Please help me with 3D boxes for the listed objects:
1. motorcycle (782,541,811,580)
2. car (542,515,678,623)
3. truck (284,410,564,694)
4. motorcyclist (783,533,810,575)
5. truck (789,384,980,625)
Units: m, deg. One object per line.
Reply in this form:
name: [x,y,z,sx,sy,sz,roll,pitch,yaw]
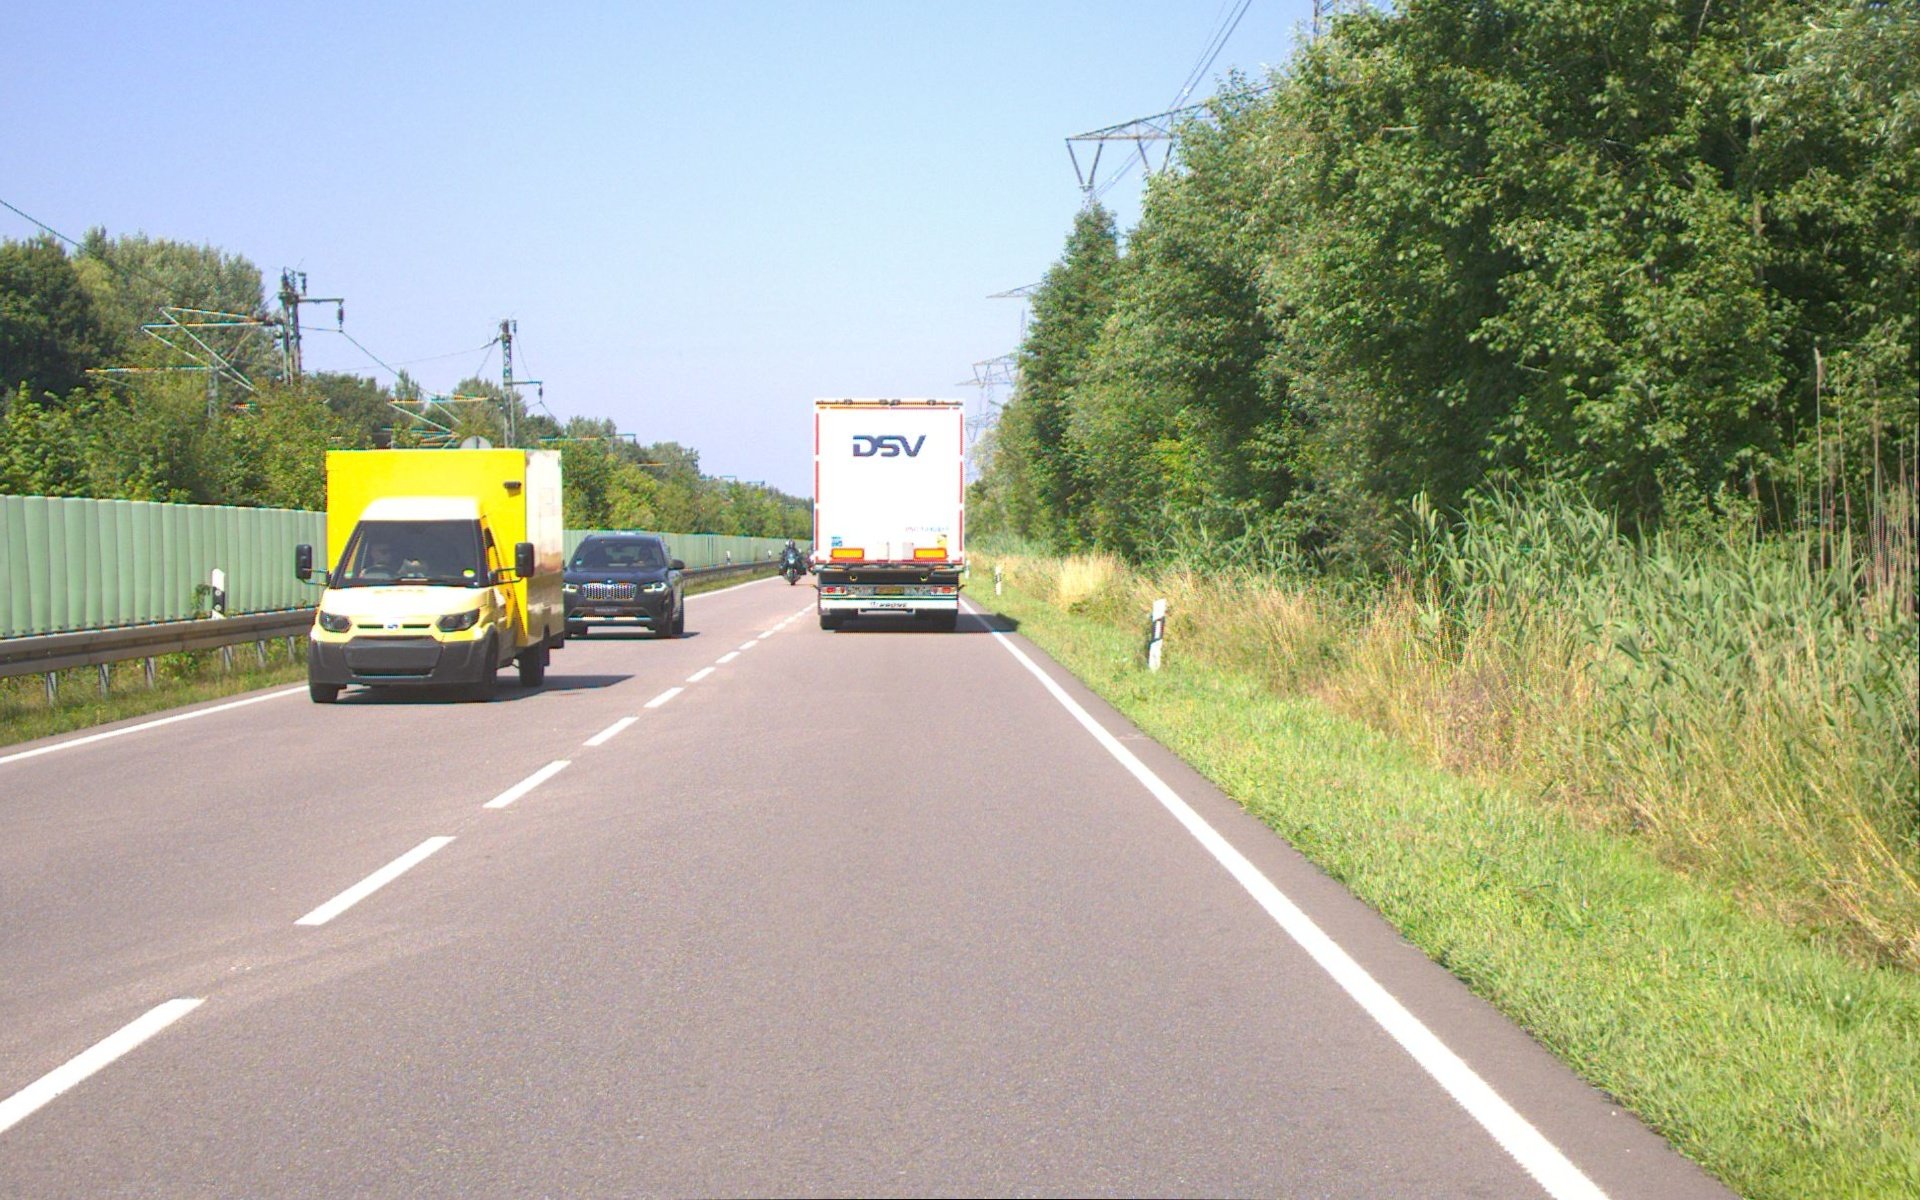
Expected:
motorcycle: [-6.307,-1.534,132.680,0.968,1.491,2.630,1,1,1]
car: [-5.694,-0.527,56.330,1.814,1.688,4.706,0,1,-1]
truck: [-5.314,-0.501,34.827,2.080,2.637,5.705,0,1,-1]
motorcyclist: [-6.304,-1.759,132.312,0.959,1.604,1.003,1,1,1]
truck: [-1.416,-1.708,63.815,3.192,4.029,12.008,0,1,-1]
